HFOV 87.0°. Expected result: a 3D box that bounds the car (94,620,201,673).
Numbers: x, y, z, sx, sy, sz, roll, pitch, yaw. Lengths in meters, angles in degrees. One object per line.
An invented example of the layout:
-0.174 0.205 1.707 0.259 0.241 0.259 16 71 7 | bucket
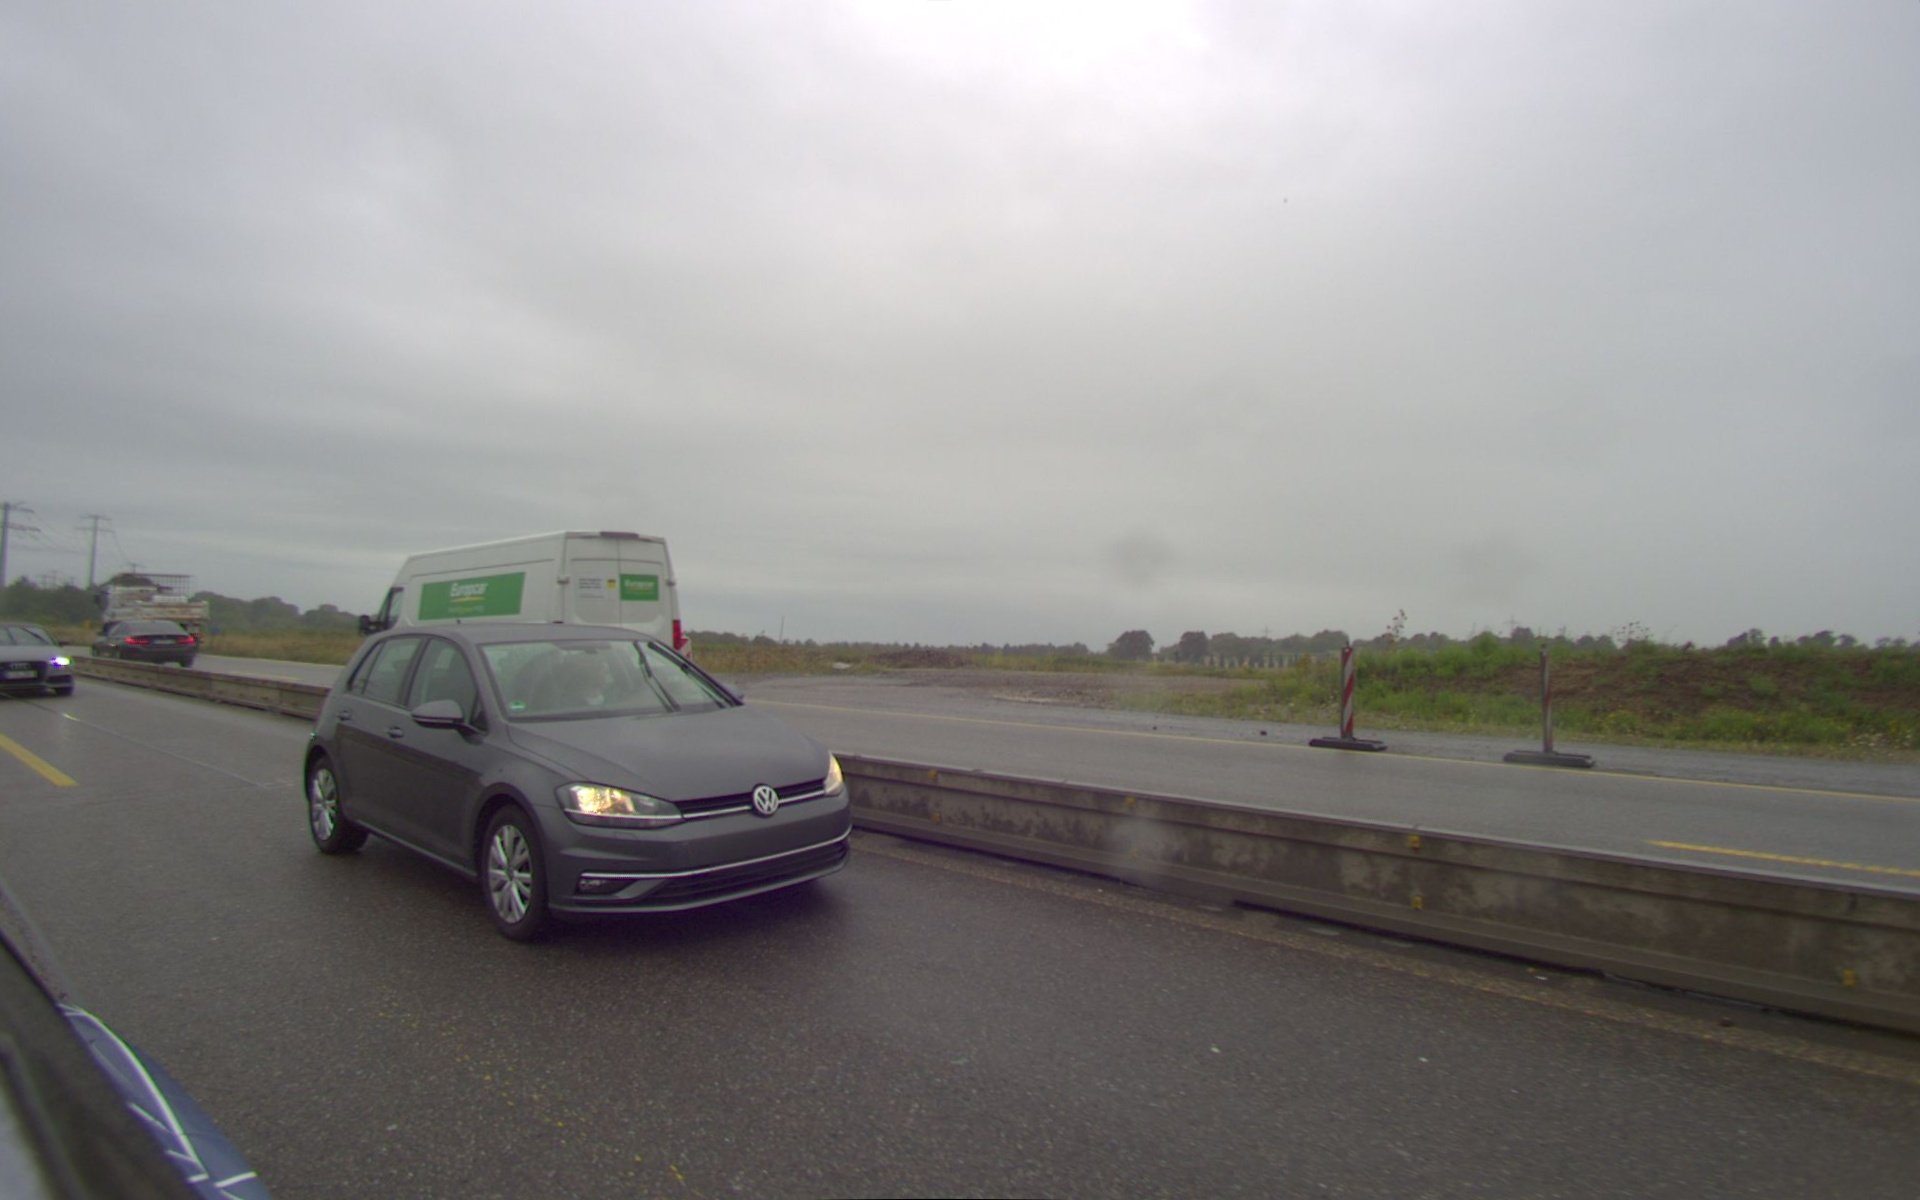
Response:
-24.975 1.372 31.048 4.747 1.506 1.729 -1 -1 41 | car

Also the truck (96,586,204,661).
-34.343 1.023 42.836 6.545 2.916 2.334 -1 -3 41 | truck

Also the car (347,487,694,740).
-6.980 0.214 15.423 7.167 3.068 1.973 -1 -1 41 | car

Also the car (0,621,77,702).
-18.904 1.149 19.843 4.266 1.407 1.777 0 0 40 | car

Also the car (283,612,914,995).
-2.301 0.801 5.824 4.078 1.433 1.632 0 -1 41 | car
